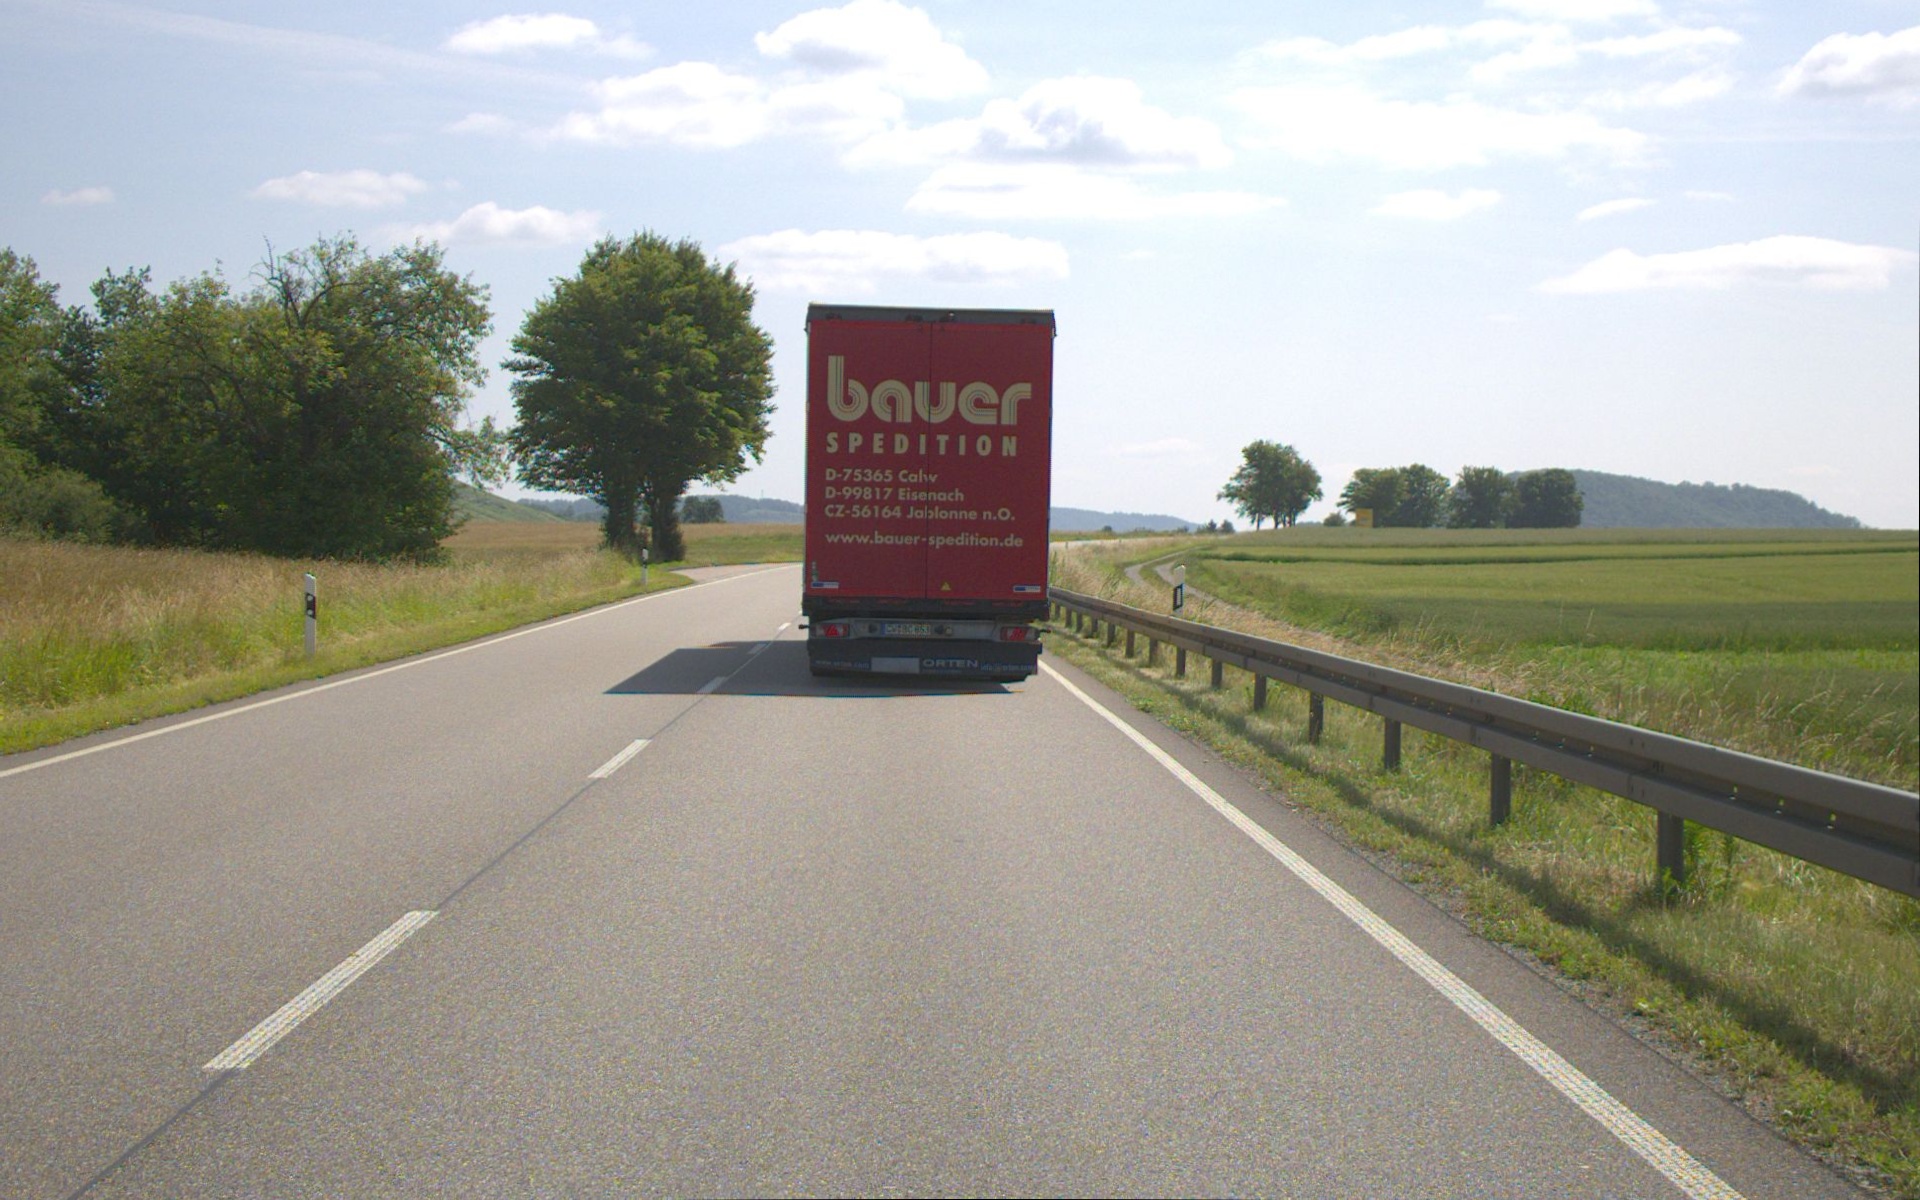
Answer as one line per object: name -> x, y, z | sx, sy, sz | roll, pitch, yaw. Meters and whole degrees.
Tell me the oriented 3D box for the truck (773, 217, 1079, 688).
truck -> -0.484, -1.522, 39.506 | 2.975, 4.697, 9.366 | 1, 0, -2
